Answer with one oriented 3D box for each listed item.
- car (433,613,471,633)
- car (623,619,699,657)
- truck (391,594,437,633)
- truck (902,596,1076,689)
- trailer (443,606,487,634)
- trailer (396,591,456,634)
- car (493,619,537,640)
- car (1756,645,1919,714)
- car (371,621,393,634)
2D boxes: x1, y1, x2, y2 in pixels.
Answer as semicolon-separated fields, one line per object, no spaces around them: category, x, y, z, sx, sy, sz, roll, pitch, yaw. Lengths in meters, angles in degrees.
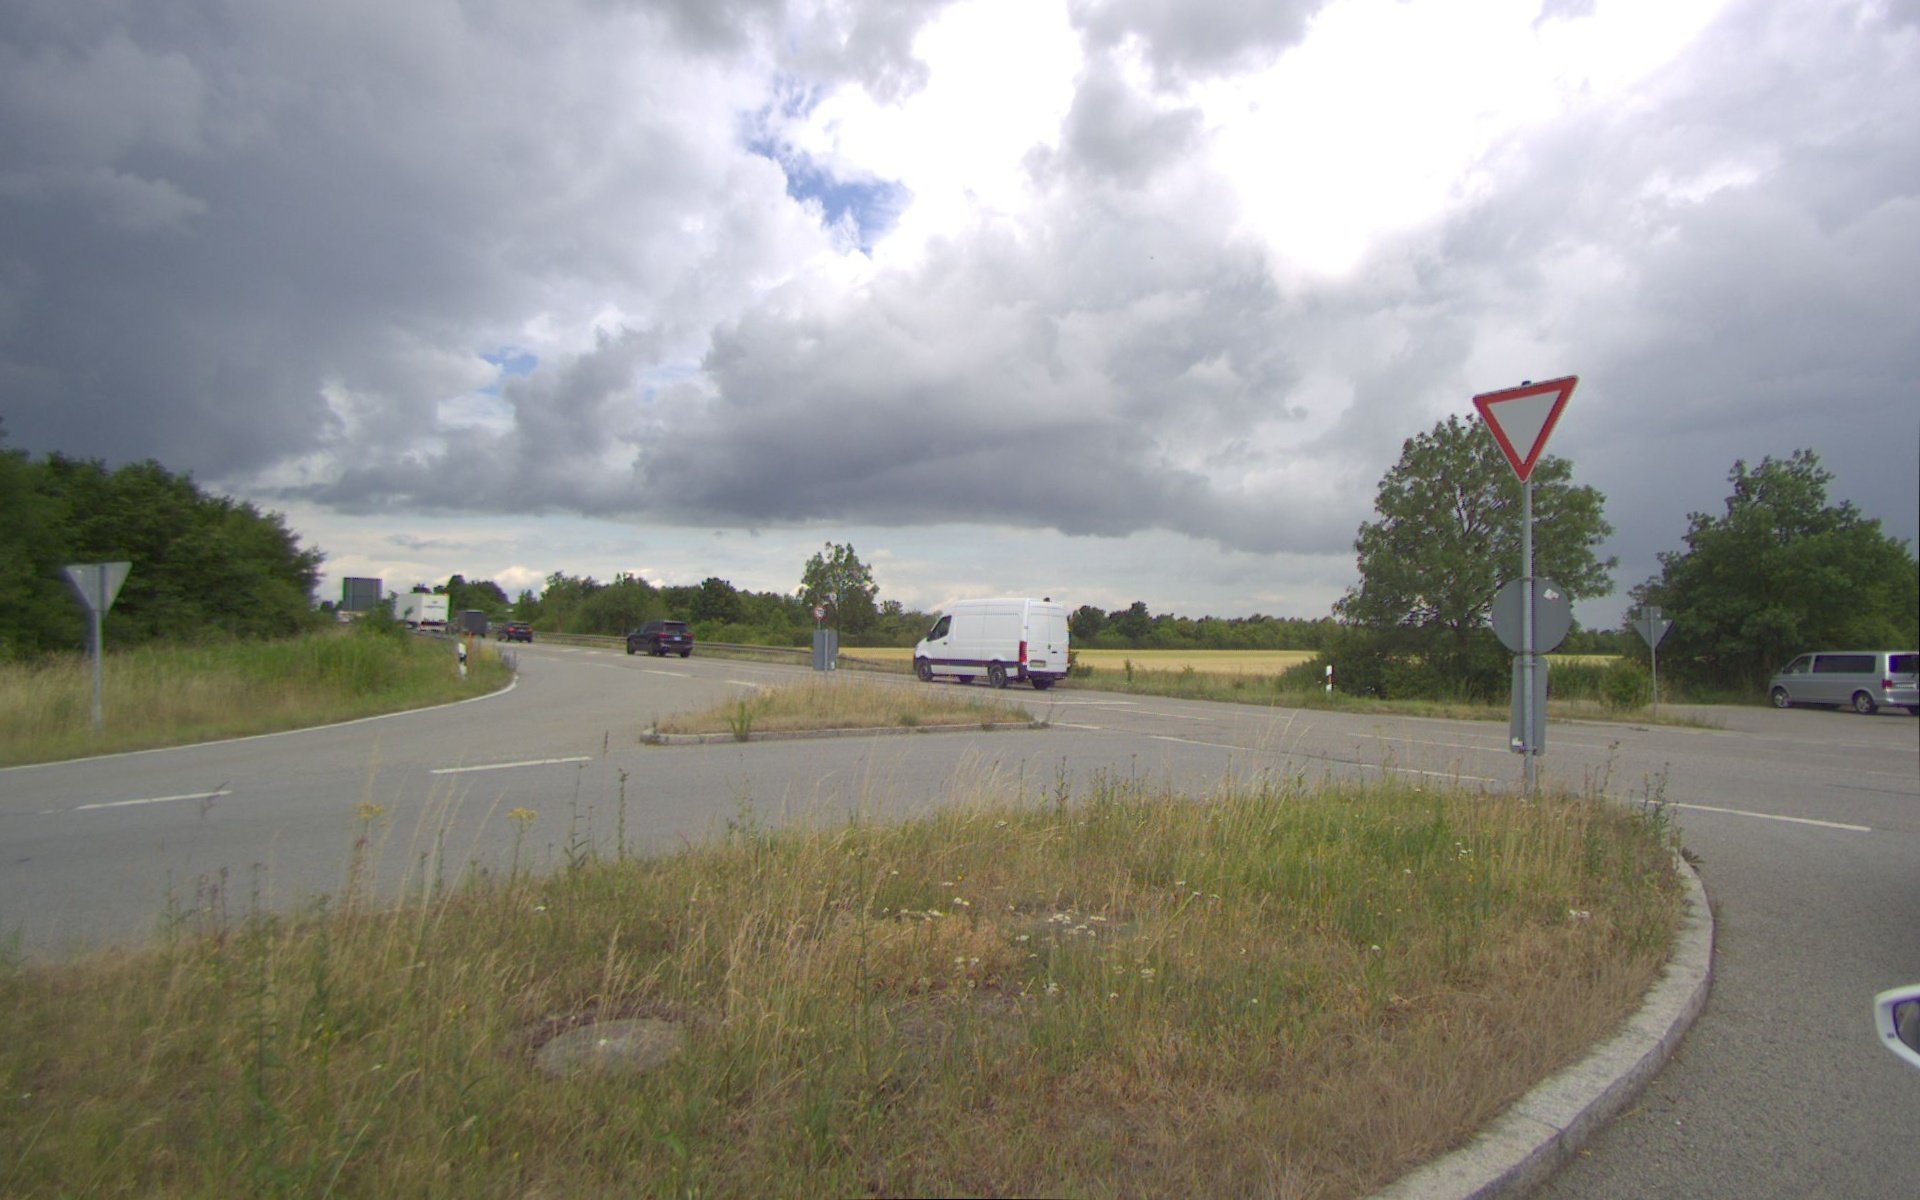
car;-45.675;2.115;90.292;1.984;1.704;4.426;4;-4;-40
car;-15.277;1.933;51.183;1.984;1.798;4.589;3;-2;-40
truck;-60.196;1.503;110.639;3.102;4.066;7.228;4;-3;-38
truck;0.764;1.281;31.224;1.983;2.609;5.949;4;-3;-39
trailer;-42.873;1.746;86.925;2.398;2.322;4.346;4;-4;-39
trailer;-56.344;1.367;105.720;3.102;4.066;13.736;4;-3;-38
car;-33.486;2.253;75.509;1.983;1.506;4.254;3;-3;-38
car;29.259;2.518;33.033;2.295;2.040;4.916;0;-2;1
car;-75.142;3.605;130.575;1.981;1.622;4.182;1;-3;-36
